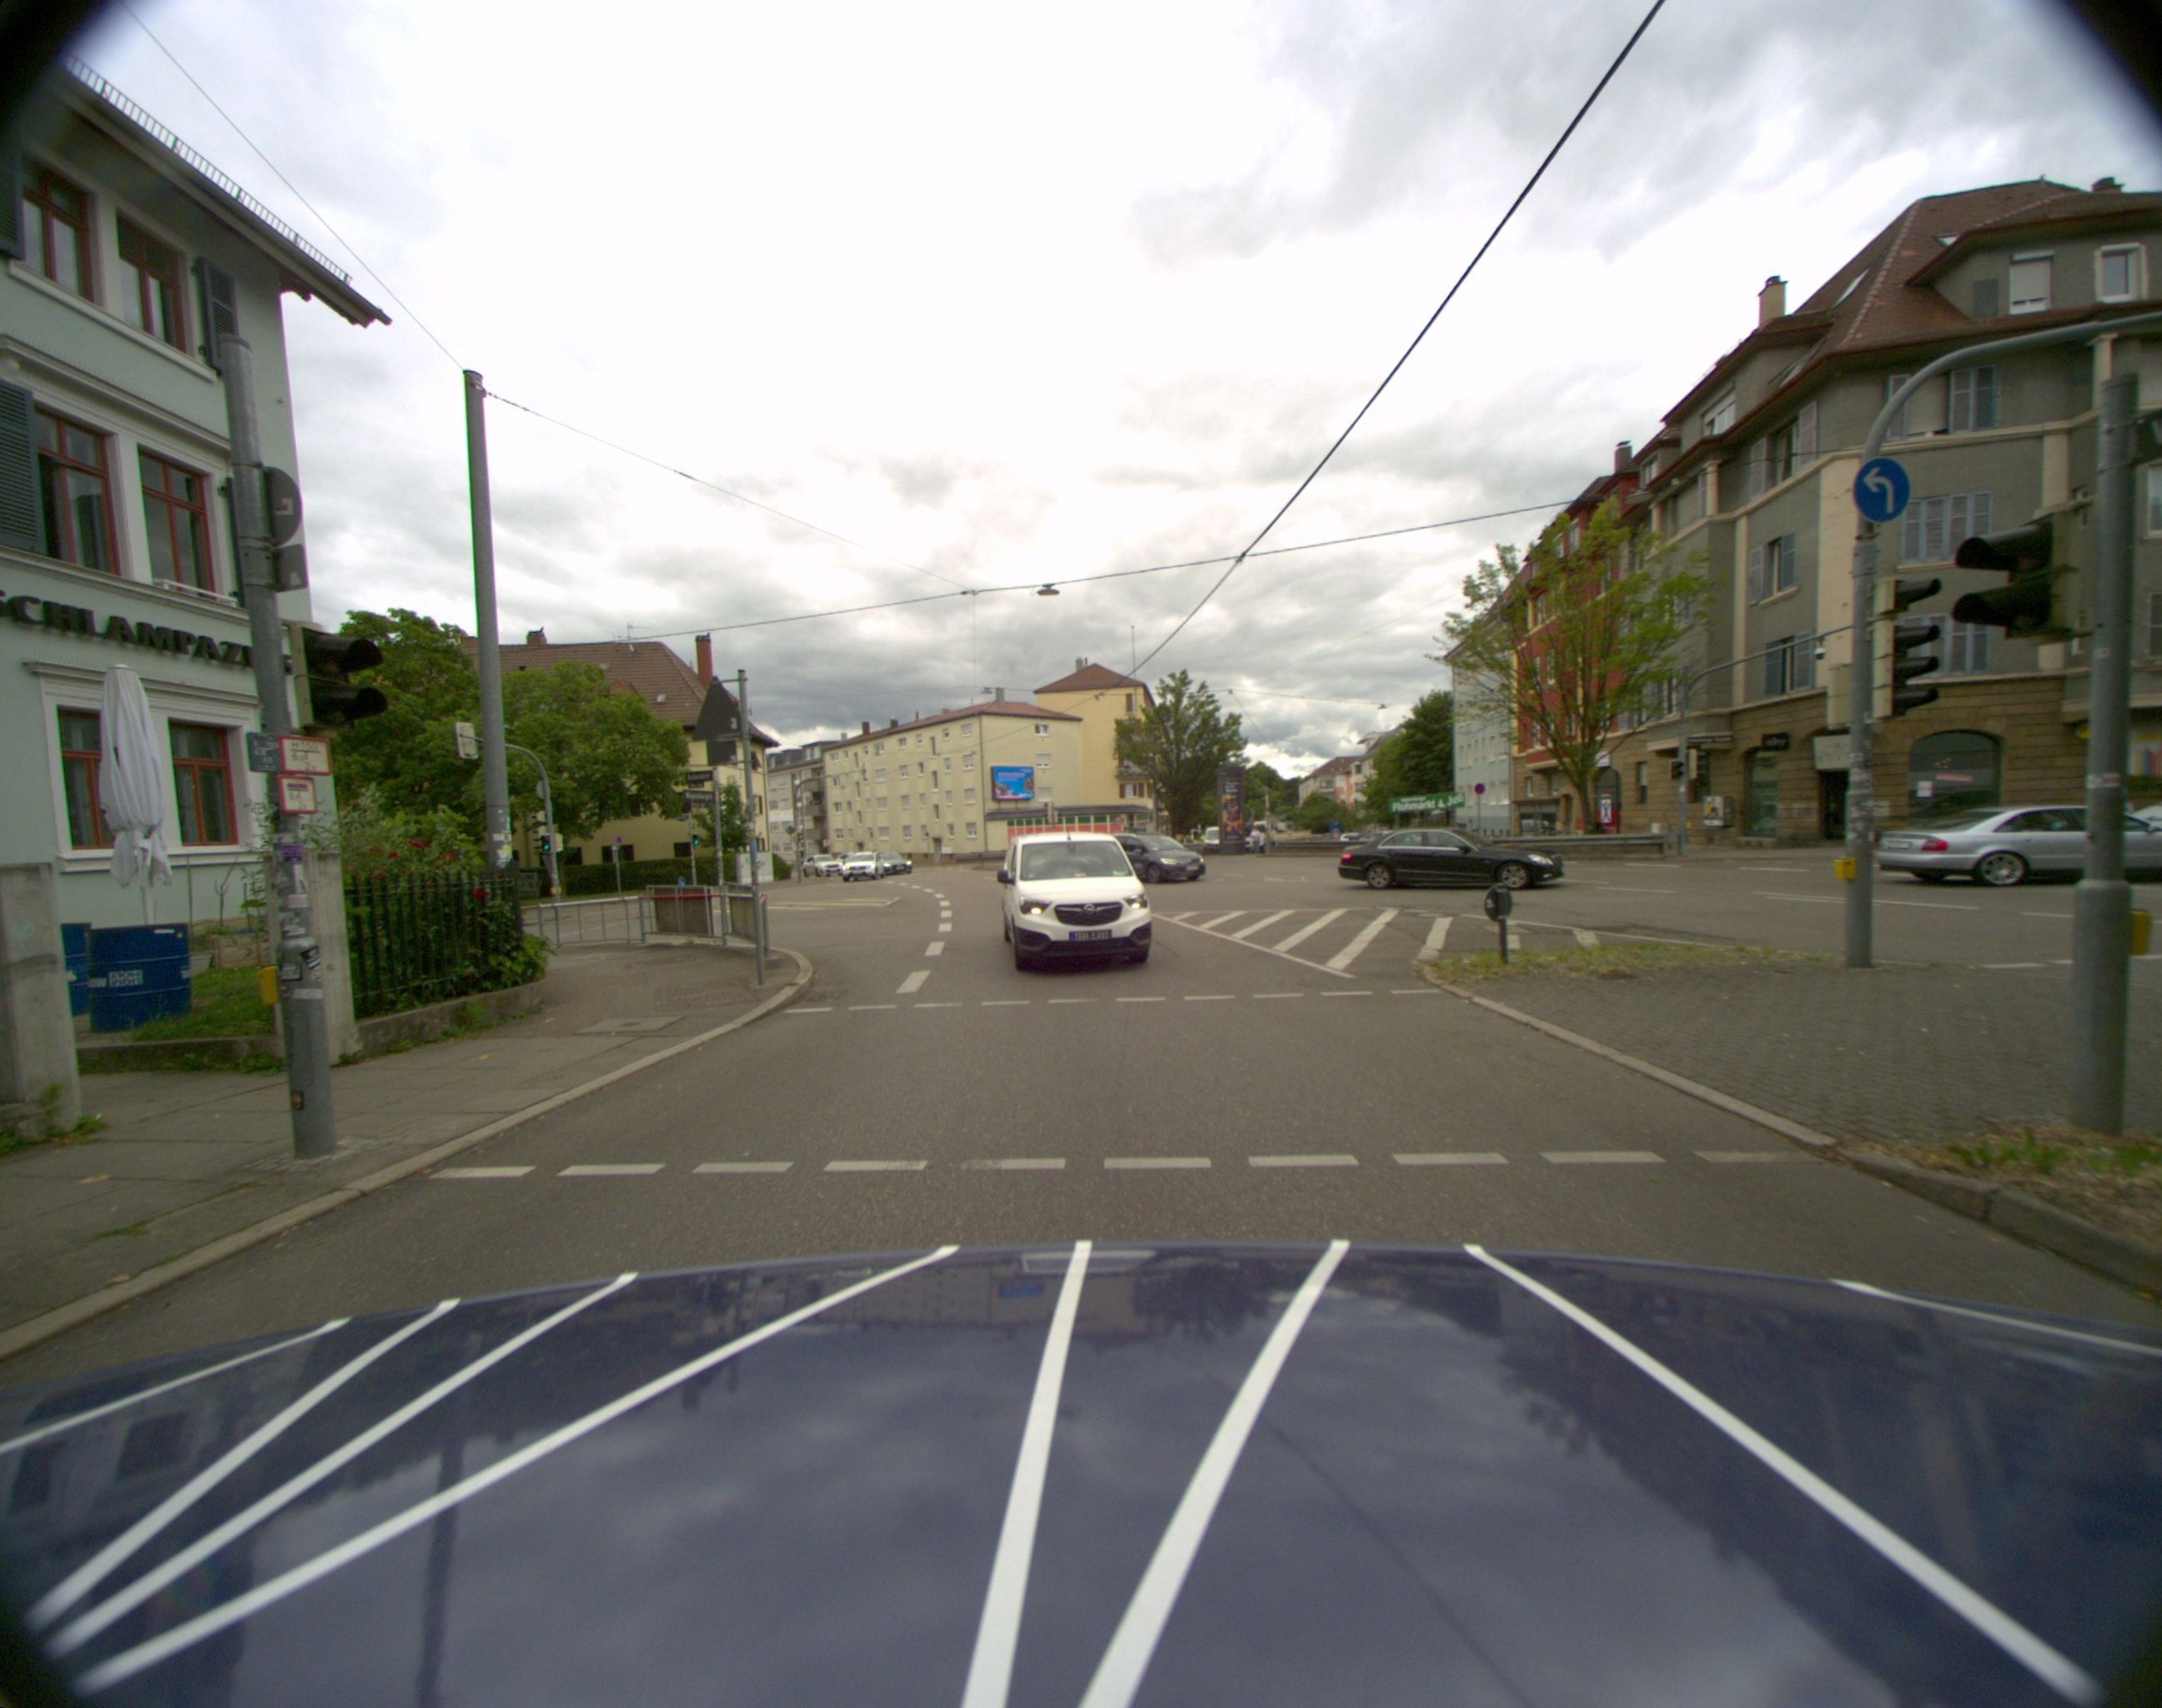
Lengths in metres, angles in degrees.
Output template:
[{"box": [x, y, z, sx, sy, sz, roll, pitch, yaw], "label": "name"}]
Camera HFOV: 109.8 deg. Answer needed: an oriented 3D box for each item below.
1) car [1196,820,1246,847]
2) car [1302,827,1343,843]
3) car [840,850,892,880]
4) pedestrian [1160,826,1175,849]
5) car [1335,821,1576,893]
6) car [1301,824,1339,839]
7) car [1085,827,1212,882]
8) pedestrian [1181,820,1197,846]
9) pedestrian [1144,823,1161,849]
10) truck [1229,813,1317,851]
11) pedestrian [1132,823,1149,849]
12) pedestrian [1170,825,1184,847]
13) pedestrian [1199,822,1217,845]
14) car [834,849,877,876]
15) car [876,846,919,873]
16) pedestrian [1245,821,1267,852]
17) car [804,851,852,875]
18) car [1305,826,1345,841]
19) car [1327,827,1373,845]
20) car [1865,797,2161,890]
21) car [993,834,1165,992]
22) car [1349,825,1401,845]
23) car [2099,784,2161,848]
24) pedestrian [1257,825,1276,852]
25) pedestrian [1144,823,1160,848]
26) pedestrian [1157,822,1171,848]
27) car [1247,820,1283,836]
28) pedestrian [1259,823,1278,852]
[{"box": [9.585, -1.414, 51.798, 2.207, 1.563, 4.482, -2, 3, 25], "label": "car"}, {"box": [27.161, -2.170, 85.457, 3.922, 1.590, 1.896, -1, 4, 40], "label": "car"}, {"box": [-11.665, 0.563, 41.431, 1.908, 1.471, 3.885, -3, 0, -5], "label": "car"}, {"box": [6.382, -1.202, 55.889, 0.867, 1.610, 0.919, -2, 3, 16], "label": "pedestrian"}, {"box": [8.691, 0.071, 17.890, 4.725, 1.412, 1.845, -1, 4, 42], "label": "car"}, {"box": [29.047, -2.722, 92.346, 3.922, 1.590, 1.896, -1, 4, 40], "label": "car"}, {"box": [2.160, 0.024, 25.843, 1.861, 1.605, 4.718, -5, 2, -30], "label": "car"}, {"box": [7.126, -1.373, 50.005, 0.770, 1.610, 0.651, -1, 4, 30], "label": "pedestrian"}, {"box": [4.624, -1.185, 49.039, 0.770, 1.610, 0.651, -1, 4, 35], "label": "pedestrian"}, {"box": [14.802, -1.693, 58.500, 6.465, 2.707, 2.766, -2, 1, -31], "label": "truck"}, {"box": [3.867, -1.169, 49.652, 0.773, 1.610, 0.648, -6, 4, -39], "label": "pedestrian"}, {"box": [7.320, -1.349, 57.934, 0.867, 1.610, 0.919, -2, 3, 16], "label": "pedestrian"}, {"box": [11.040, -1.815, 66.054, 0.930, 1.948, 1.265, -4, 3, -21], "label": "pedestrian"}, {"box": [-18.174, 0.654, 61.085, 2.003, 2.003, 4.258, -5, 3, -33], "label": "car"}, {"box": [-11.634, 0.362, 47.899, 2.041, 1.541, 4.028, -3, 1, -21], "label": "car"}, {"box": [9.157, -0.908, 39.849, 0.707, 1.574, 0.801, -5, 4, -31], "label": "pedestrian"}, {"box": [-18.179, 0.658, 54.501, 1.957, 1.541, 4.025, -4, 1, -38], "label": "car"}, {"box": [28.369, -2.366, 88.242, 3.922, 1.590, 1.896, -1, 4, 40], "label": "car"}, {"box": [27.381, -1.815, 77.411, 3.922, 1.590, 1.896, -1, 4, 40], "label": "car"}, {"box": [17.048, -0.190, 13.343, 4.258, 1.335, 1.708, -3, 3, 18], "label": "car"}, {"box": [-0.280, 0.654, 11.561, 1.859, 1.799, 4.724, -4, 2, -8], "label": "car"}, {"box": [26.504, -1.709, 68.437, 3.922, 1.590, 1.896, -1, 4, 40], "label": "car"}, {"box": [26.674, -0.963, 17.255, 3.954, 1.422, 1.797, -2, 3, 17], "label": "car"}, {"box": [9.543, -0.779, 39.160, 0.665, 1.334, 0.627, -5, 4, -30], "label": "pedestrian"}, {"box": [4.729, -1.261, 50.575, 0.773, 1.610, 0.648, -5, 4, -35], "label": "pedestrian"}, {"box": [5.270, -1.190, 48.331, 0.606, 1.610, 0.553, -5, 4, -32], "label": "pedestrian"}, {"box": [22.930, -3.274, 94.764, 3.936, 1.695, 1.889, -4, 3, -20], "label": "car"}, {"box": [9.493, -0.849, 38.505, 0.606, 1.424, 0.600, -5, 4, -30], "label": "pedestrian"}]
